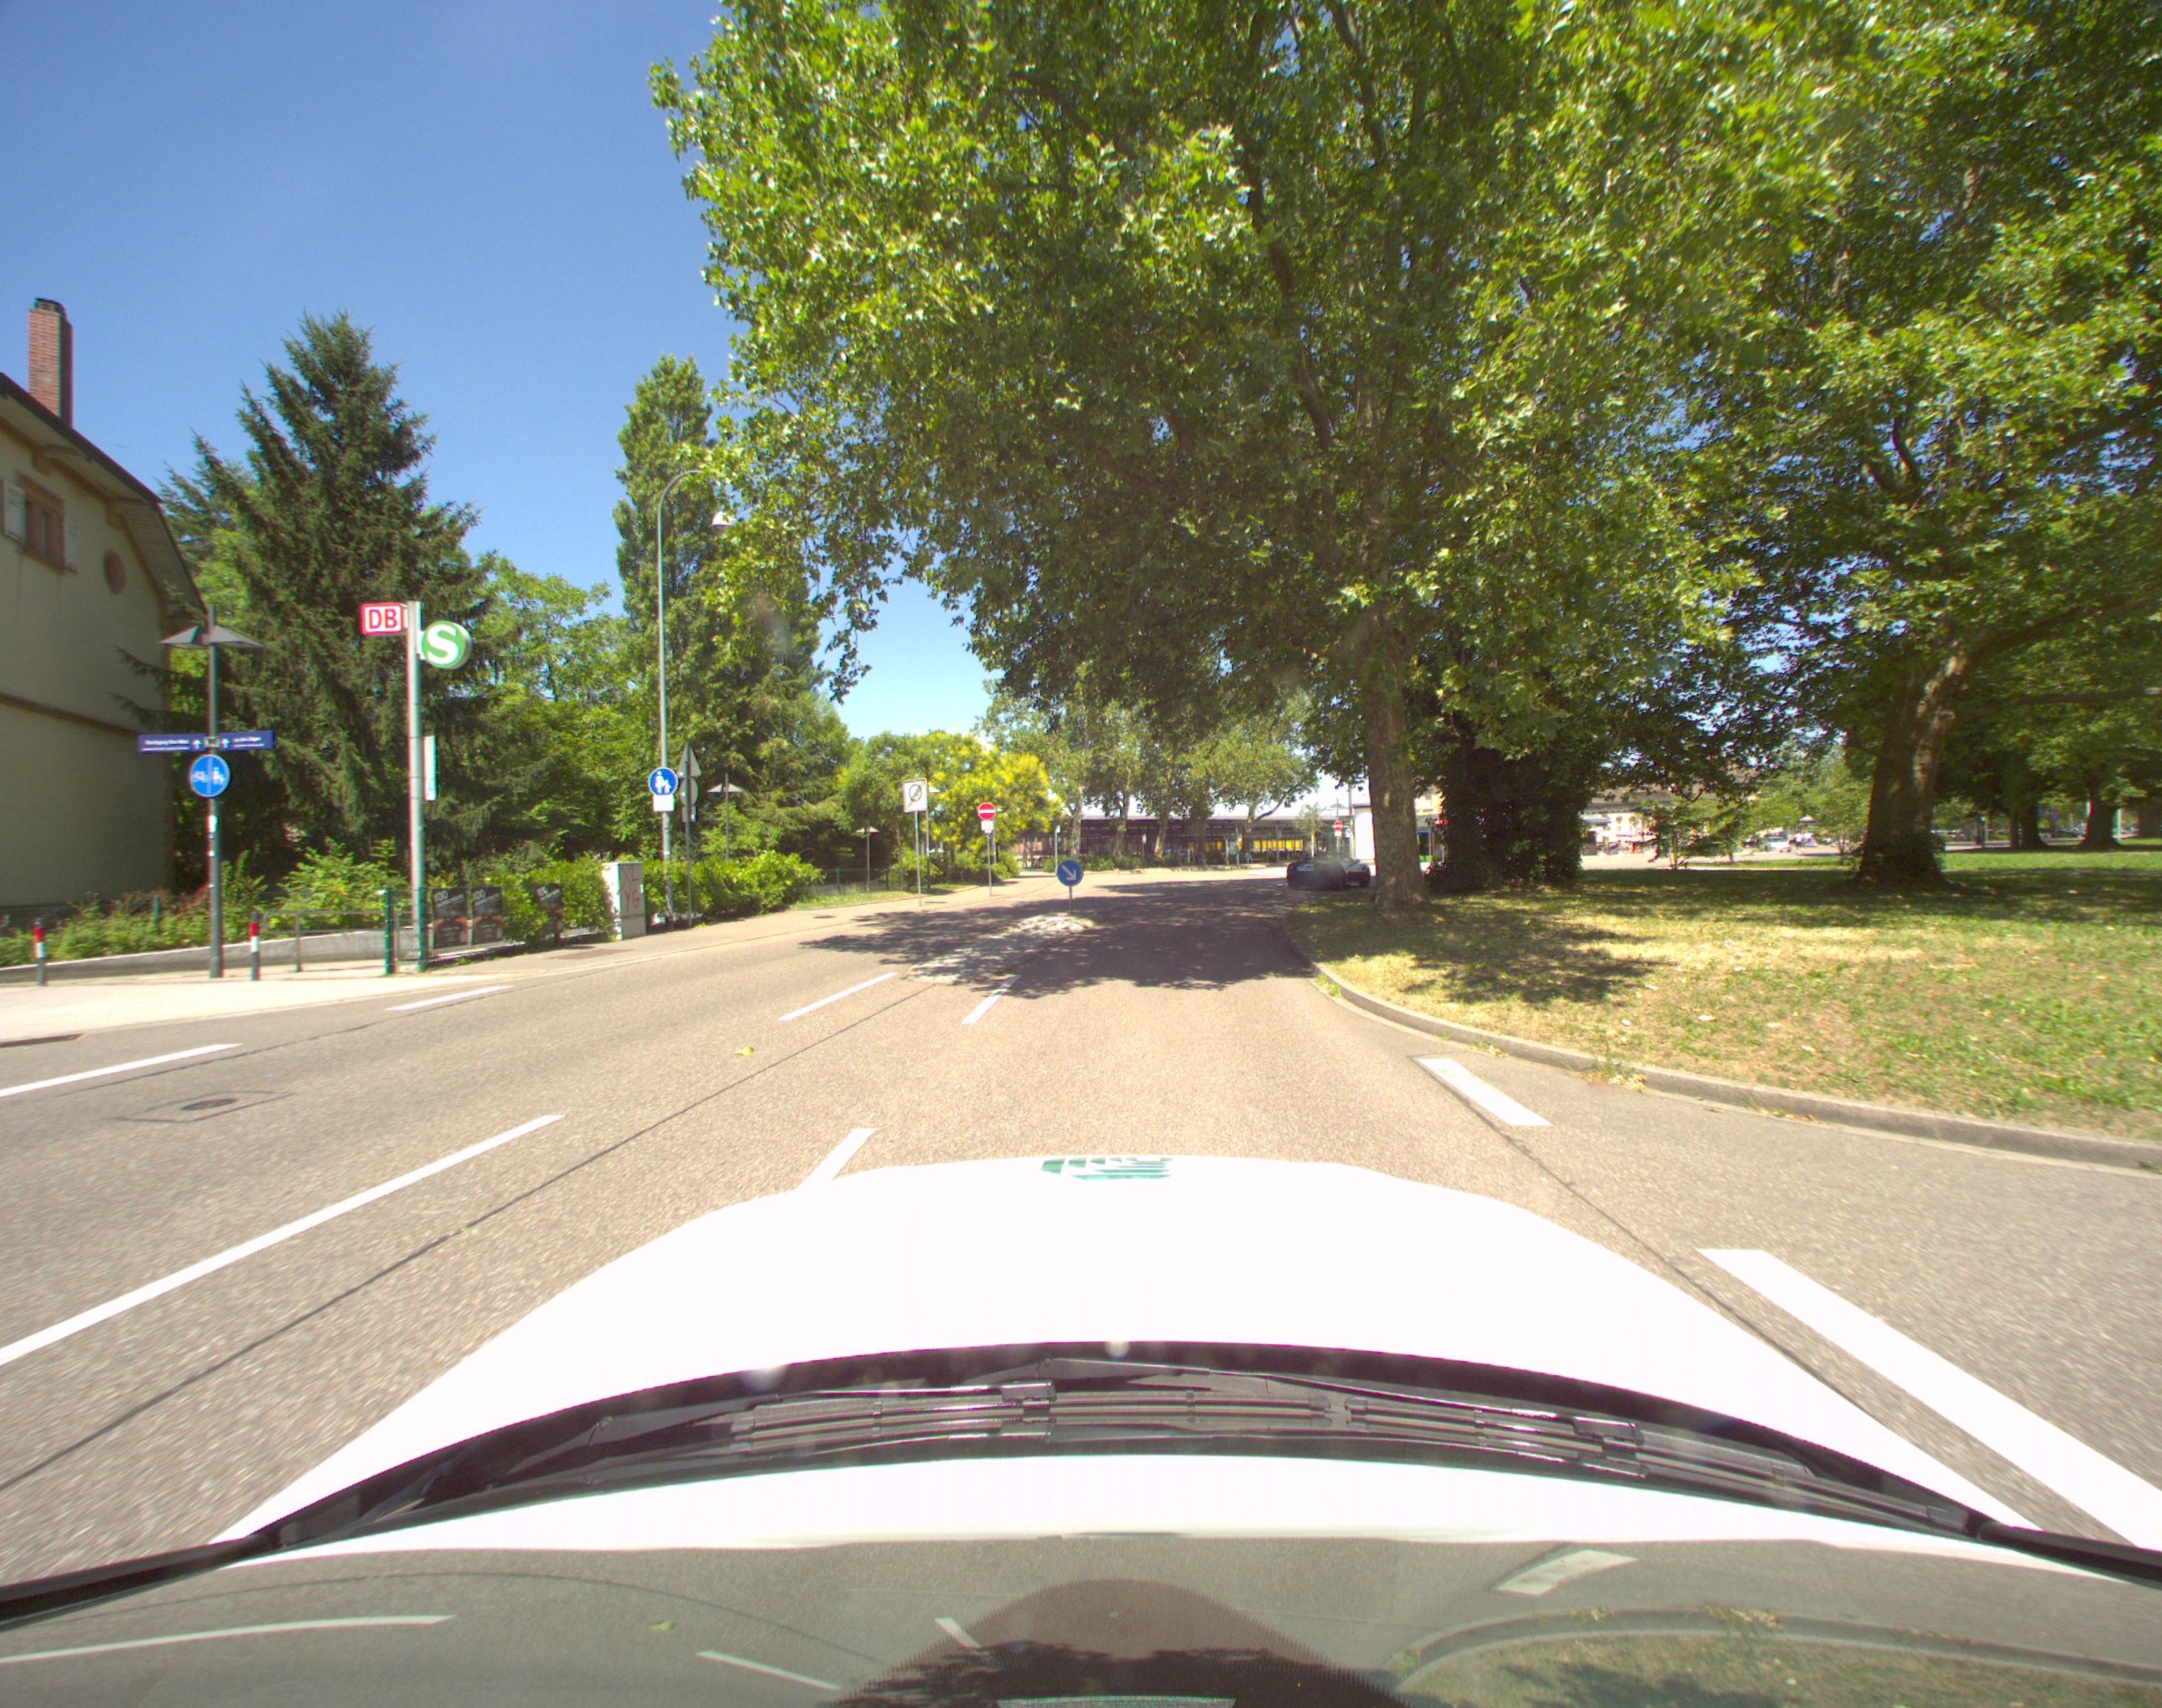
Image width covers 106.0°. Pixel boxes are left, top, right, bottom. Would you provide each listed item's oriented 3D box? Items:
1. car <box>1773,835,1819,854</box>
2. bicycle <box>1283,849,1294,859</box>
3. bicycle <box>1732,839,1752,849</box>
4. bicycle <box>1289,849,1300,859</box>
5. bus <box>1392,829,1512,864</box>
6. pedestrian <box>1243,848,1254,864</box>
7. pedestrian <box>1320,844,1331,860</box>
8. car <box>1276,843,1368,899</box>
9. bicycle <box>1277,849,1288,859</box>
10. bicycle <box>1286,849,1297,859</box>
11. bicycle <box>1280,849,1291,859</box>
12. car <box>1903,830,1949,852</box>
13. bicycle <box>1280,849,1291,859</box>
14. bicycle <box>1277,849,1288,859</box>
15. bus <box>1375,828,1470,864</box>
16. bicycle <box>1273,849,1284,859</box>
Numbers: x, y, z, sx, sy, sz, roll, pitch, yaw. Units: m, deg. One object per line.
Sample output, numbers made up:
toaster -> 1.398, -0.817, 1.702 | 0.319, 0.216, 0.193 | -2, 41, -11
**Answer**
car -> 65.879, -0.869, 75.021 | 4.170, 1.444, 1.803 | -2, -3, -29
bicycle -> 23.110, 0.020, 90.706 | 0.387, 1.094, 1.373 | 1, -1, -28
bicycle -> 77.628, -1.181, 95.607 | 1.775, 1.030, 0.492 | -1, 0, 38
bicycle -> 23.848, 0.025, 91.088 | 0.387, 1.094, 1.373 | 1, -1, -27
bus -> 34.420, -0.761, 75.061 | 13.938, 3.041, 2.657 | -1, -1, -31
pedestrian -> 16.049, 0.177, 78.160 | 0.825, 1.463, 0.601 | -1, -1, -33
pedestrian -> 24.897, -0.201, 83.019 | 0.811, 1.617, 0.773 | -1, 1, 42
car -> 8.835, 0.558, 29.610 | 2.104, 1.848, 4.074 | -1, 0, 33
bicycle -> 22.344, 0.011, 90.167 | 0.387, 1.094, 1.373 | 1, -1, -27
bicycle -> 23.485, 0.022, 90.882 | 0.387, 1.094, 1.373 | 1, -1, -27
bicycle -> 23.155, 0.053, 92.425 | 0.387, 1.094, 1.373 | 1, -1, -27
car -> 60.046, -0.952, 57.859 | 3.722, 1.478, 1.705 | -1, -1, -36
bicycle -> 22.684, 0.017, 90.485 | 0.387, 1.094, 1.373 | 1, -1, -29
bicycle -> 22.784, 0.050, 92.206 | 0.387, 1.094, 1.373 | 1, -1, -27
bus -> 36.145, -0.852, 85.916 | 12.258, 3.526, 2.148 | -2, 0, -30
bicycle -> 22.313, 0.047, 91.945 | 0.387, 1.094, 1.373 | 1, -1, -27
